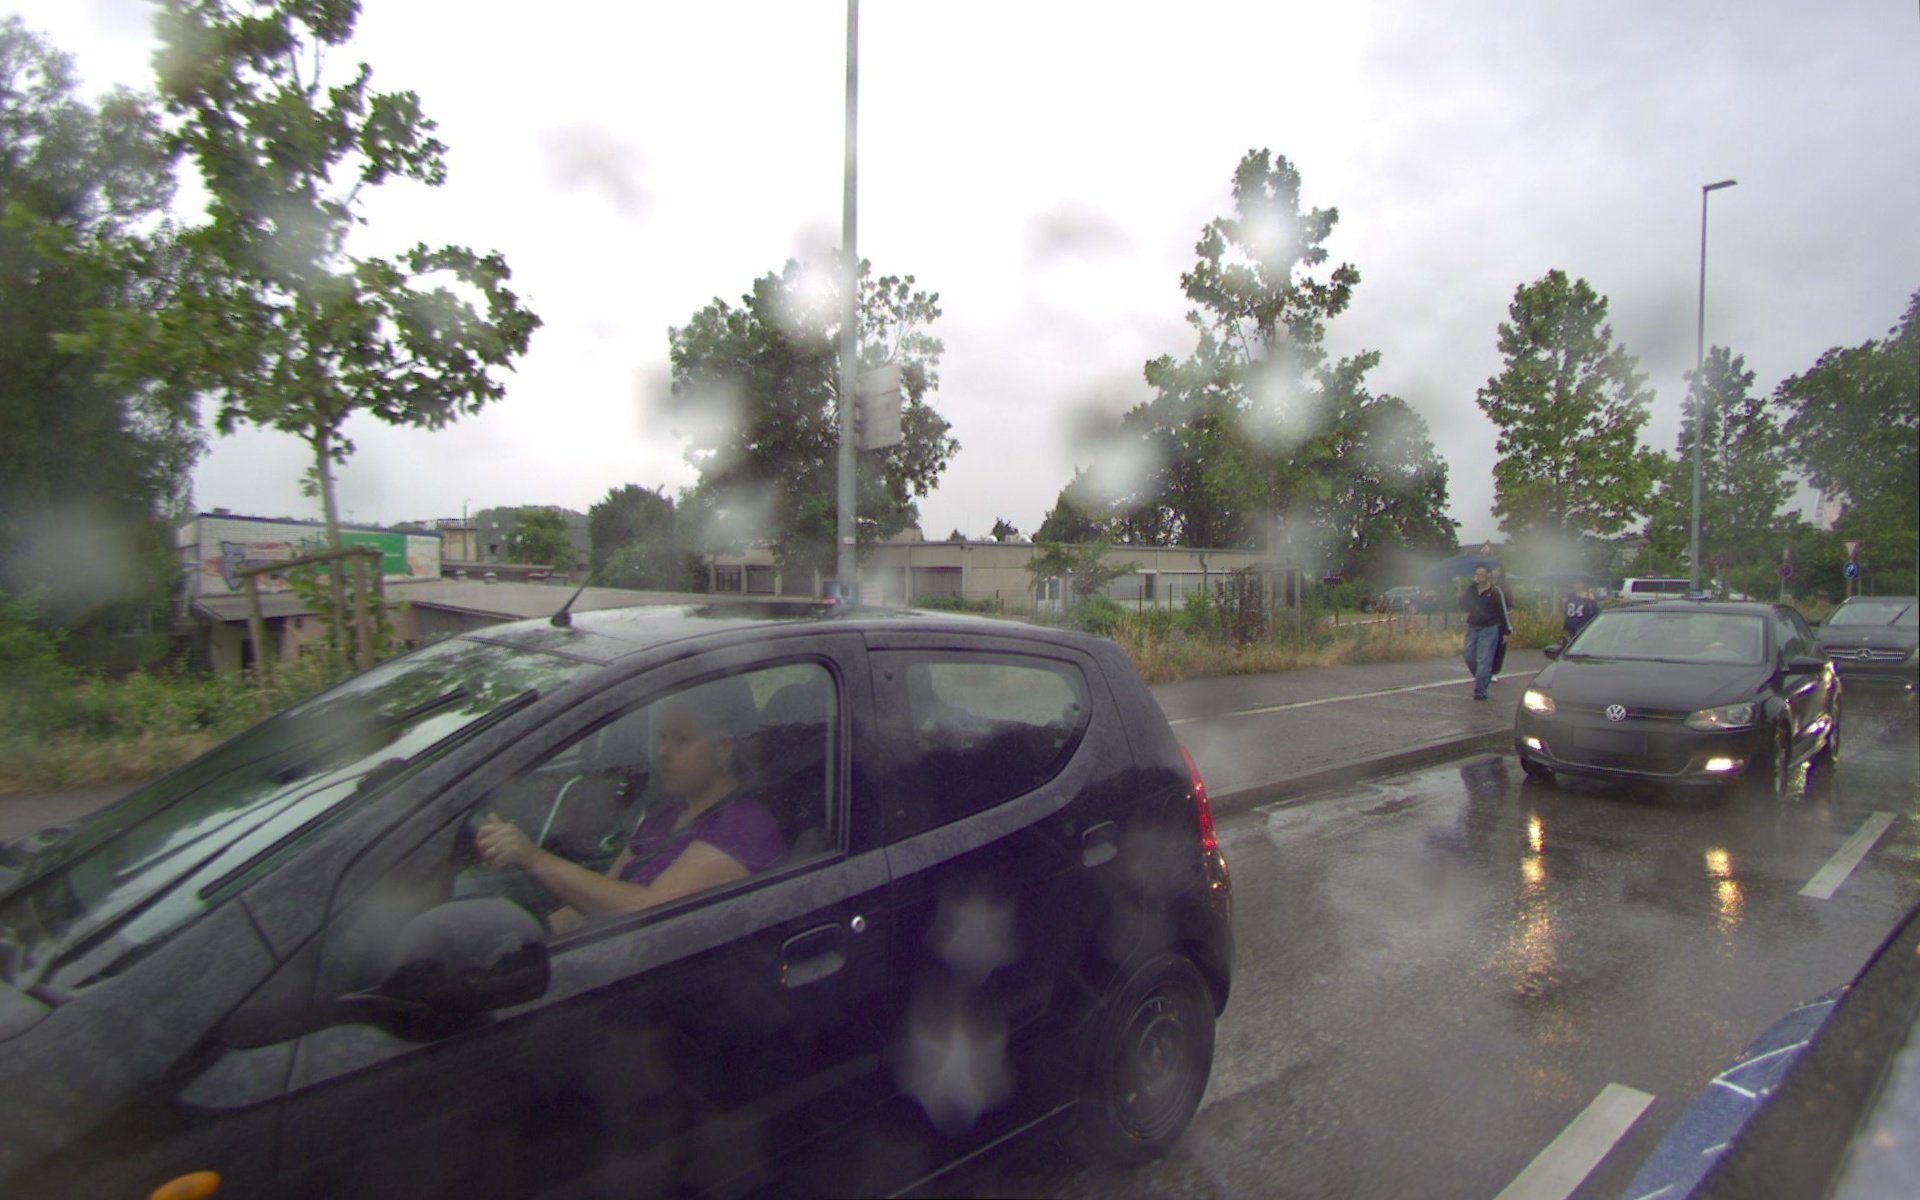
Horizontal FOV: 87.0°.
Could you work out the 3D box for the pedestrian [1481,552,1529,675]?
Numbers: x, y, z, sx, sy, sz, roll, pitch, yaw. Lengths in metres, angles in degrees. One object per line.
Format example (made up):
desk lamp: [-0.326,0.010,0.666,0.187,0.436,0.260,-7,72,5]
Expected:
pedestrian: [7.592,0.175,14.105,0.433,1.682,0.401,-1,3,-41]

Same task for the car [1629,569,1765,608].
car: [33.654,-0.533,46.326,1.966,1.670,4.753,-2,1,-41]

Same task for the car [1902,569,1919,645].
car: [20.899,0.111,20.904,4.051,1.488,1.702,-2,2,-41]

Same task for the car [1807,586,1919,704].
car: [14.611,0.614,15.643,3.747,1.593,1.697,-2,1,-40]

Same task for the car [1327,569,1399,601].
car: [26.793,-1.000,67.406,1.964,2.039,3.997,-1,1,-38]

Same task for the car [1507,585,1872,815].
car: [5.984,0.610,8.166,3.561,1.446,1.631,-1,0,-41]

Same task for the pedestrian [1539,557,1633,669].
pedestrian: [10.212,0.182,16.526,0.876,1.729,1.025,-1,4,-41]

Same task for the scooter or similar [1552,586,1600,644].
scooter or similar: [13.029,0.296,21.393,1.747,1.144,0.380,-2,3,-42]

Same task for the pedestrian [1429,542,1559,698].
pedestrian: [6.464,0.199,12.271,0.953,1.777,1.081,-1,3,-41]

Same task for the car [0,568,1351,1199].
car: [-0.708,0.675,2.460,3.561,1.446,1.631,-1,0,-41]
